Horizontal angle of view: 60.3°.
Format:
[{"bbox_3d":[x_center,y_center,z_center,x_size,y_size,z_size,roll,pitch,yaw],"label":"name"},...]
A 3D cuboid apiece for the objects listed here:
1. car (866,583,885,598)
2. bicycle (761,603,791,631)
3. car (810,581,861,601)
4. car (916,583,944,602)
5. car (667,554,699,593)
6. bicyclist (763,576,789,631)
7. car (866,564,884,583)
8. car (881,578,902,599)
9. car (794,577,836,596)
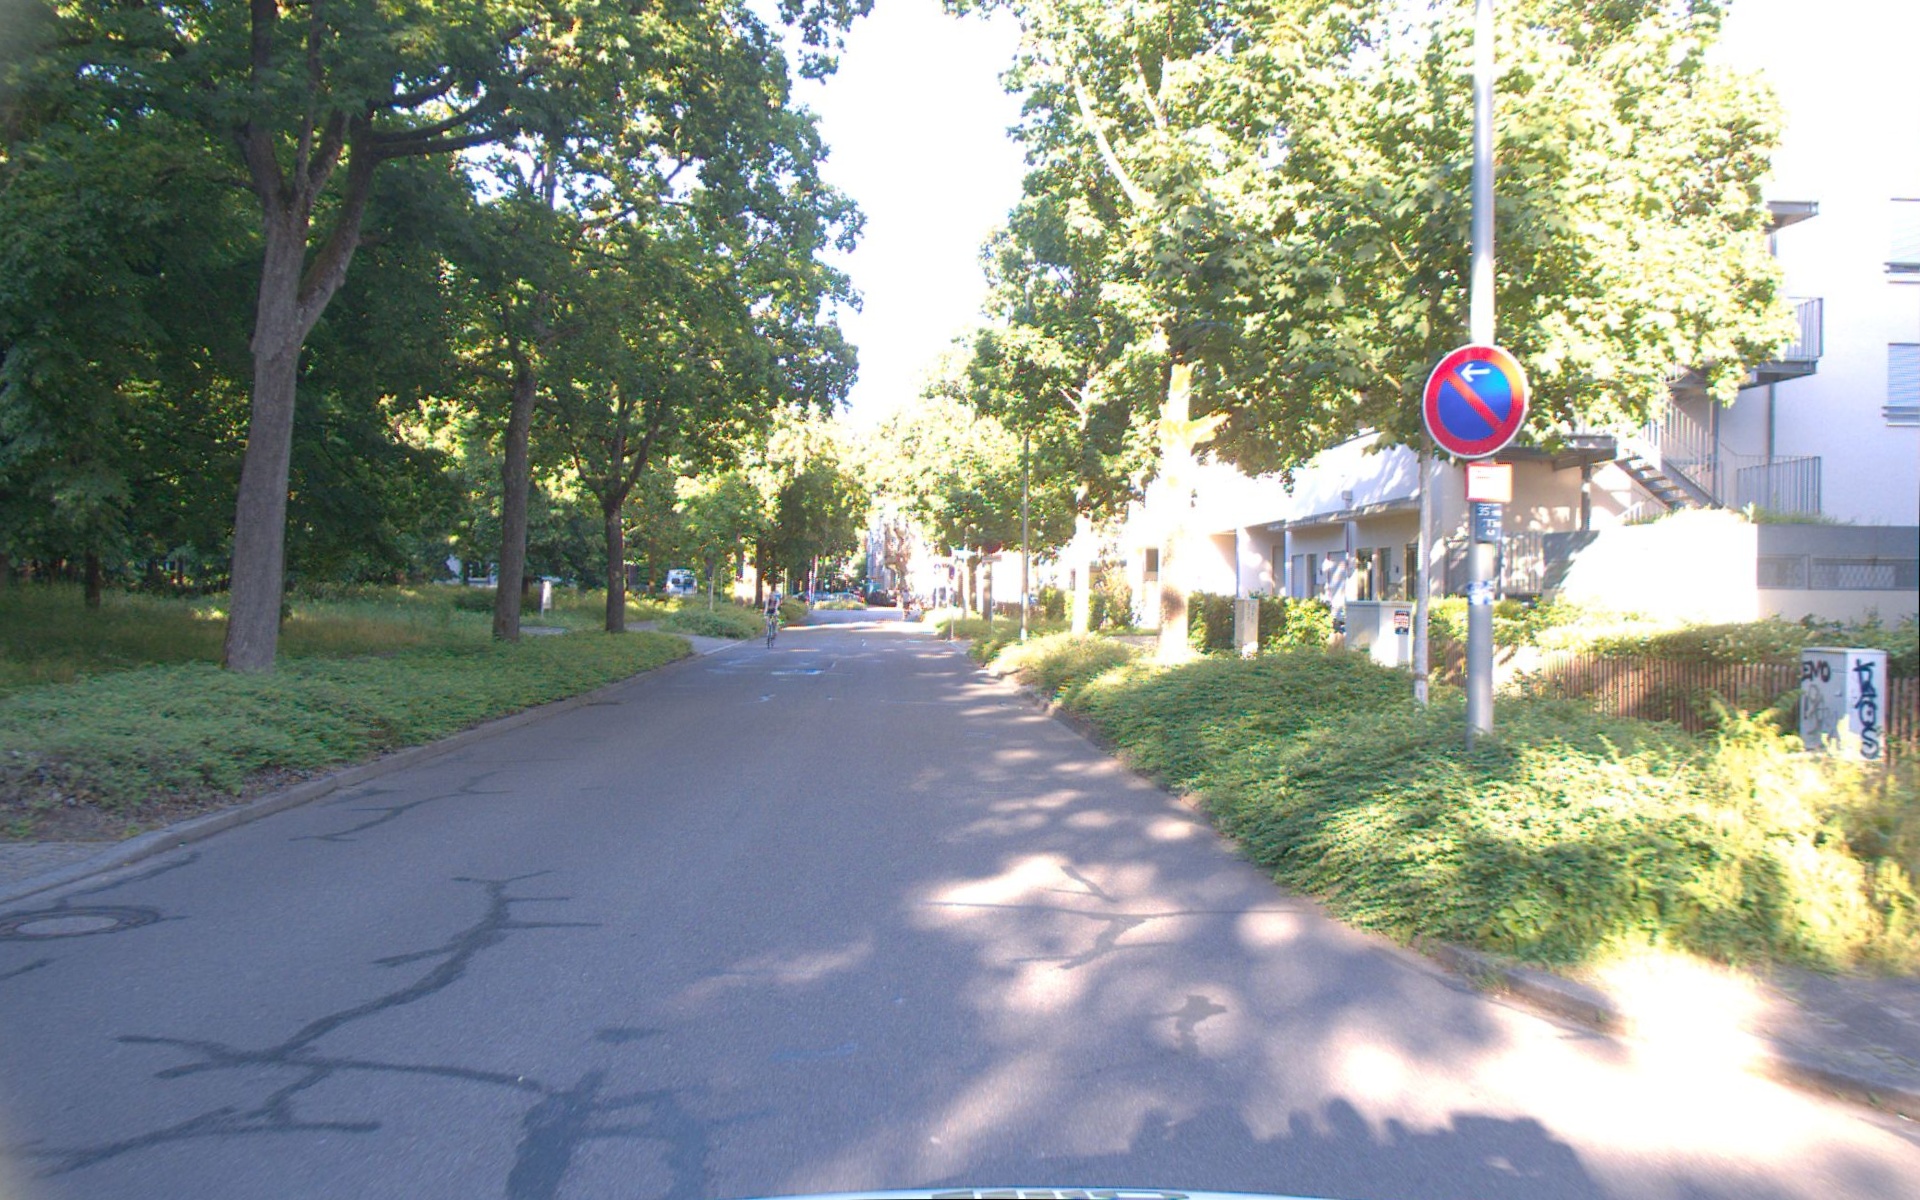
[{"bbox_3d":[-9.245,-1.079,180.303,1.776,1.527,3.995,2,0,-6],"label":"car"},{"bbox_3d":[-5.382,0.482,48.462,0.626,0.755,2.126,-1,1,0],"label":"bicycle"},{"bbox_3d":[-10.135,-0.733,134.467,3.915,1.527,1.813,2,0,-11],"label":"car"},{"bbox_3d":[-2.488,-0.605,137.292,1.778,1.527,3.991,0,1,-10],"label":"car"},{"bbox_3d":[-18.920,-1.800,112.912,1.958,2.552,3.989,1,0,-11],"label":"car"},{"bbox_3d":[-5.387,0.085,48.434,0.620,1.582,1.002,-1,0,0],"label":"bicyclist"},{"bbox_3d":[-9.794,-3.074,190.485,1.776,2.086,3.995,2,0,-6],"label":"car"},{"bbox_3d":[-6.883,-1.150,165.620,1.776,1.959,3.995,2,0,-6],"label":"car"},{"bbox_3d":[-12.889,-1.185,146.775,3.523,1.536,1.496,2,0,-11],"label":"car"}]
